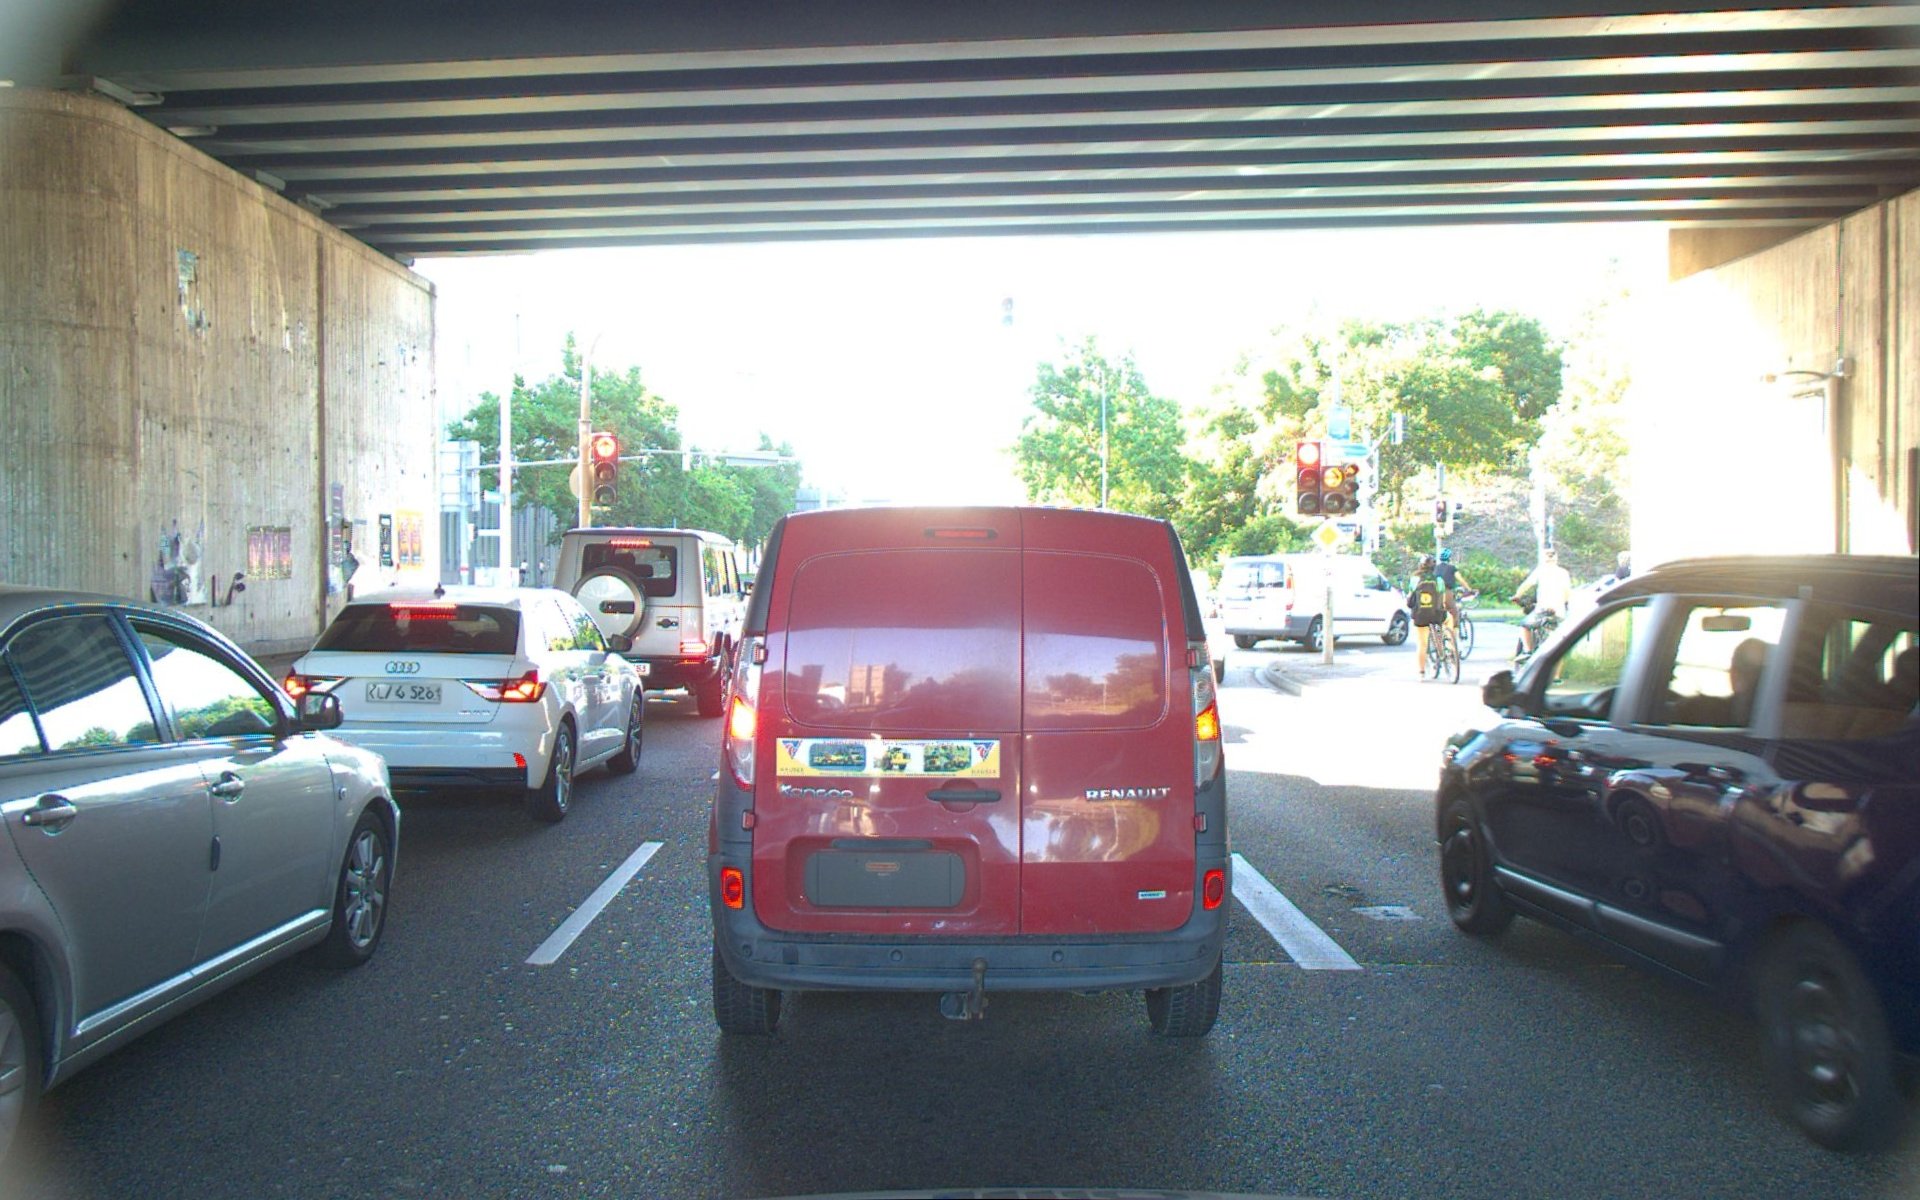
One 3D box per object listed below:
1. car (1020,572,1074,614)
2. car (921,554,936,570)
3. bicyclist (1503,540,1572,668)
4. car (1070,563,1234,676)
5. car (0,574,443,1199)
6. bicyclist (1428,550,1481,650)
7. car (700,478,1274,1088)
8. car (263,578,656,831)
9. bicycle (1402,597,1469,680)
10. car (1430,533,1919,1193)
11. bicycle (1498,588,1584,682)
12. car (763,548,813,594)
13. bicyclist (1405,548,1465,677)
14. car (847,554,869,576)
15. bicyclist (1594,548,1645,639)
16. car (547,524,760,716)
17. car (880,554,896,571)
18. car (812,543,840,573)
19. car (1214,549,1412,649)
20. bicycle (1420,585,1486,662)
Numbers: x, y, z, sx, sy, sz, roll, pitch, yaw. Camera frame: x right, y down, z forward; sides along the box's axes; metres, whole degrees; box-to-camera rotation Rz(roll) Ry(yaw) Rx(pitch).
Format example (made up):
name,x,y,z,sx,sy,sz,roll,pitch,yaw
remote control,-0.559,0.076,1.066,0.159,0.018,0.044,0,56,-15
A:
name,x,y,z,sx,sy,sz,roll,pitch,yaw
car,3.148,-0.260,60.411,1.710,1.481,3.716,1,0,-1
car,-4.200,-5.032,220.633,1.953,2.049,3.999,1,0,-1
bicyclist,7.277,0.050,20.864,0.655,1.589,0.736,0,0,6
car,2.862,0.320,25.529,1.953,1.578,4.419,0,-1,-1
car,-3.011,0.659,4.887,1.662,1.480,4.397,1,0,-2
bicyclist,7.899,-0.007,26.404,0.640,1.561,0.845,0,0,30
car,0.054,0.536,6.928,1.684,1.795,3.999,1,0,-1
car,-3.228,0.590,11.433,1.658,1.435,3.812,1,0,-2
bicycle,6.253,0.489,21.799,0.662,1.042,1.530,1,0,10
car,3.176,0.652,5.774,1.739,1.628,4.103,1,0,-3
bicycle,7.275,0.428,20.771,0.666,1.132,1.605,0,0,6
car,-8.131,-1.361,78.361,1.953,2.049,3.999,1,0,-1
bicyclist,6.258,0.164,21.814,0.663,1.657,0.644,1,0,10
car,-9.915,-3.371,160.917,1.953,2.049,3.999,1,0,-1
bicyclist,12.493,-0.120,31.320,0.733,1.684,0.884,1,0,31
car,-3.358,0.195,18.787,1.777,1.937,3.812,1,0,-2
car,-9.105,-4.769,209.872,1.890,2.049,3.913,1,0,-1
car,-9.607,-3.002,118.683,1.712,2.049,3.843,1,0,-1
car,7.355,-0.081,34.136,1.870,1.868,4.806,1,3,42
bicycle,7.878,0.365,26.371,0.638,1.188,1.775,0,0,29
